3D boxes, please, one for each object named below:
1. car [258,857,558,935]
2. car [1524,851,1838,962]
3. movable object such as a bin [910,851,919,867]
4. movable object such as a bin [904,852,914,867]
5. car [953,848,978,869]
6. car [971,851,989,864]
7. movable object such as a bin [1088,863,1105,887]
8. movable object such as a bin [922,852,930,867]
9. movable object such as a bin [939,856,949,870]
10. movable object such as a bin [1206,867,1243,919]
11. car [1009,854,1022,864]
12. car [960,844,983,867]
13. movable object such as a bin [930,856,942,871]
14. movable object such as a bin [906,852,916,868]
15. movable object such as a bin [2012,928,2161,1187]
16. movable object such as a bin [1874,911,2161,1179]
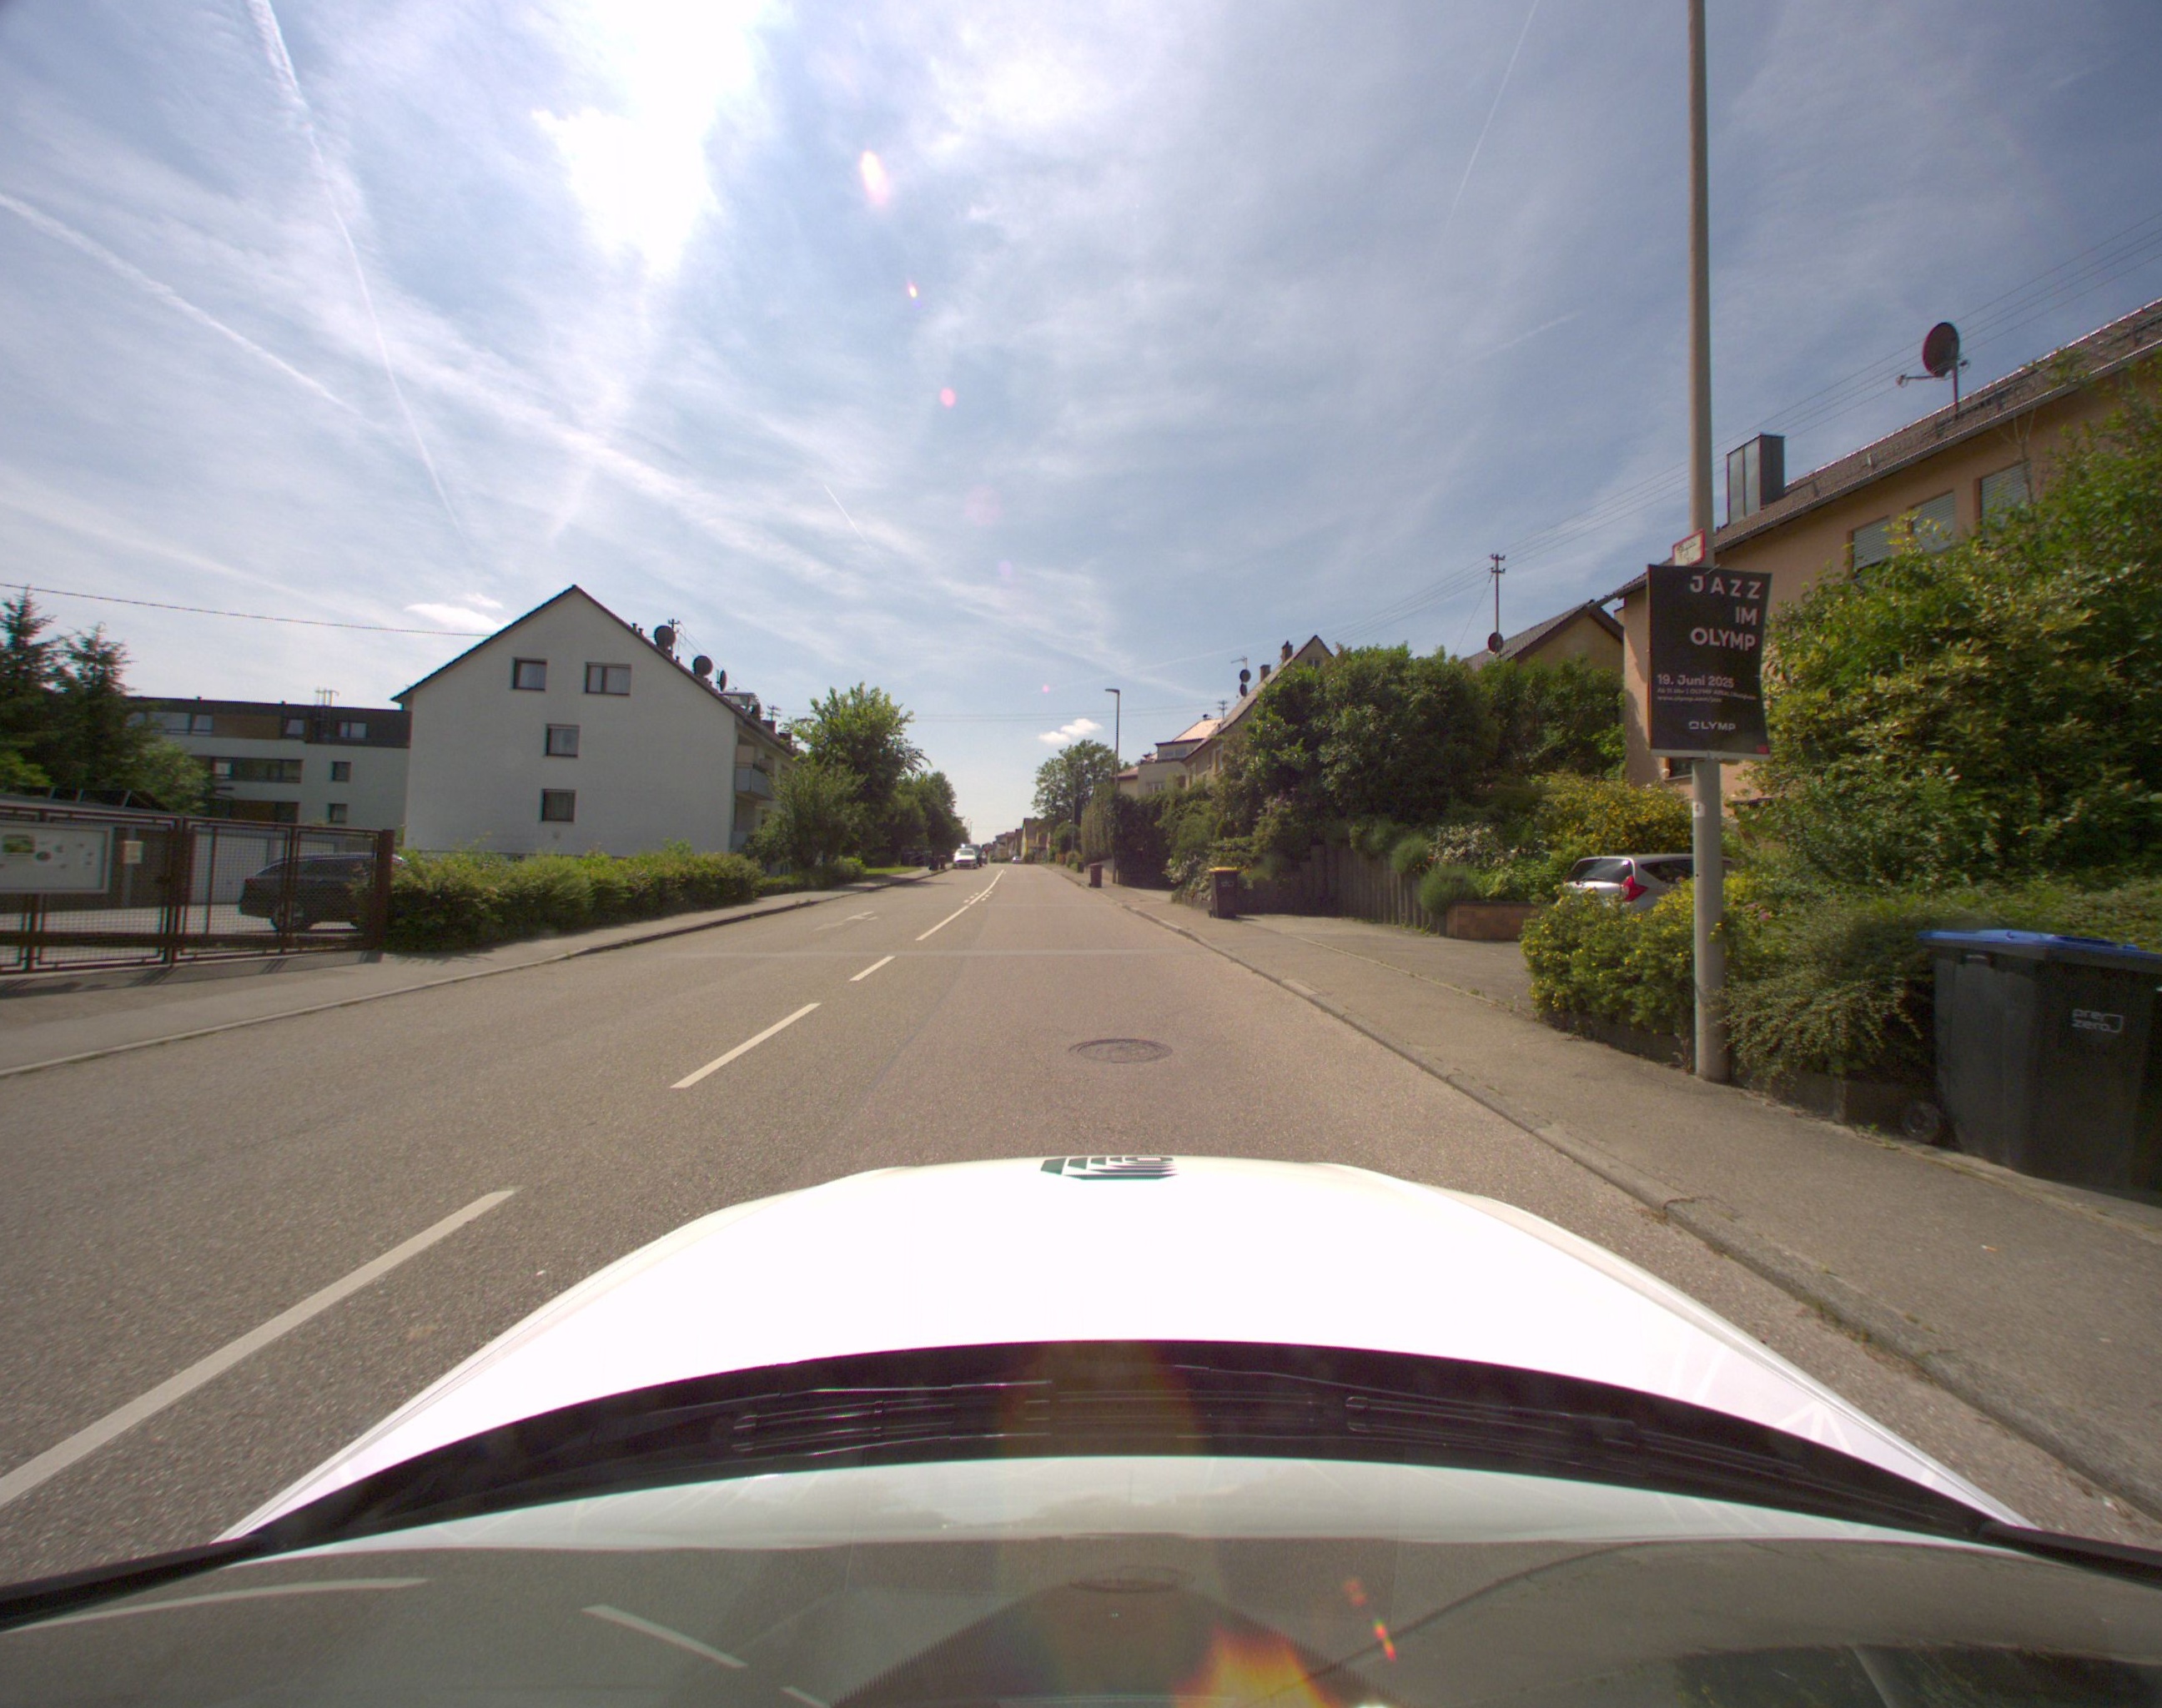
[{"bbox_3d":[-12.840,0.779,15.812,3.983,1.387,1.995,1,0,-8],"label":"car"},{"bbox_3d":[9.094,0.761,12.512,3.640,1.499,1.832,2,0,-8],"label":"car"},{"bbox_3d":[-12.446,0.399,60.979,0.475,1.178,0.840,1,0,0],"label":"movable object such as a bin"},{"bbox_3d":[-12.540,0.397,59.372,0.600,1.096,0.650,1,0,1],"label":"movable object such as a bin"},{"bbox_3d":[-8.920,0.301,63.204,1.809,1.549,4.233,1,0,-7],"label":"car"},{"bbox_3d":[-10.845,0.401,87.514,1.777,1.394,4.401,0,-1,-5],"label":"car"},{"bbox_3d":[0.645,0.857,34.017,0.587,0.977,0.785,-1,0,-5],"label":"movable object such as a bin"},{"bbox_3d":[-11.548,0.432,60.772,0.516,1.104,0.528,0,0,-6],"label":"movable object such as a bin"},{"bbox_3d":[-9.333,0.614,55.464,0.504,0.988,0.563,0,0,1],"label":"movable object such as a bin"},{"bbox_3d":[3.060,0.813,17.403,0.587,1.059,0.919,0,0,-2],"label":"movable object such as a bin"},{"bbox_3d":[-10.831,0.772,134.697,1.991,1.603,3.991,1,0,-6],"label":"car"},{"bbox_3d":[-9.465,0.127,70.586,1.895,1.920,4.858,0,0,-7],"label":"car"},{"bbox_3d":[-9.411,0.611,52.773,0.617,0.917,0.686,0,0,1],"label":"movable object such as a bin"},{"bbox_3d":[-12.544,0.466,60.128,0.545,1.178,0.674,1,0,0],"label":"movable object such as a bin"},{"bbox_3d":[4.995,0.931,3.715,0.547,1.068,0.769,6,0,4],"label":"movable object such as a bin"},{"bbox_3d":[4.406,0.852,3.875,0.547,1.068,0.659,6,0,4],"label":"movable object such as a bin"}]
